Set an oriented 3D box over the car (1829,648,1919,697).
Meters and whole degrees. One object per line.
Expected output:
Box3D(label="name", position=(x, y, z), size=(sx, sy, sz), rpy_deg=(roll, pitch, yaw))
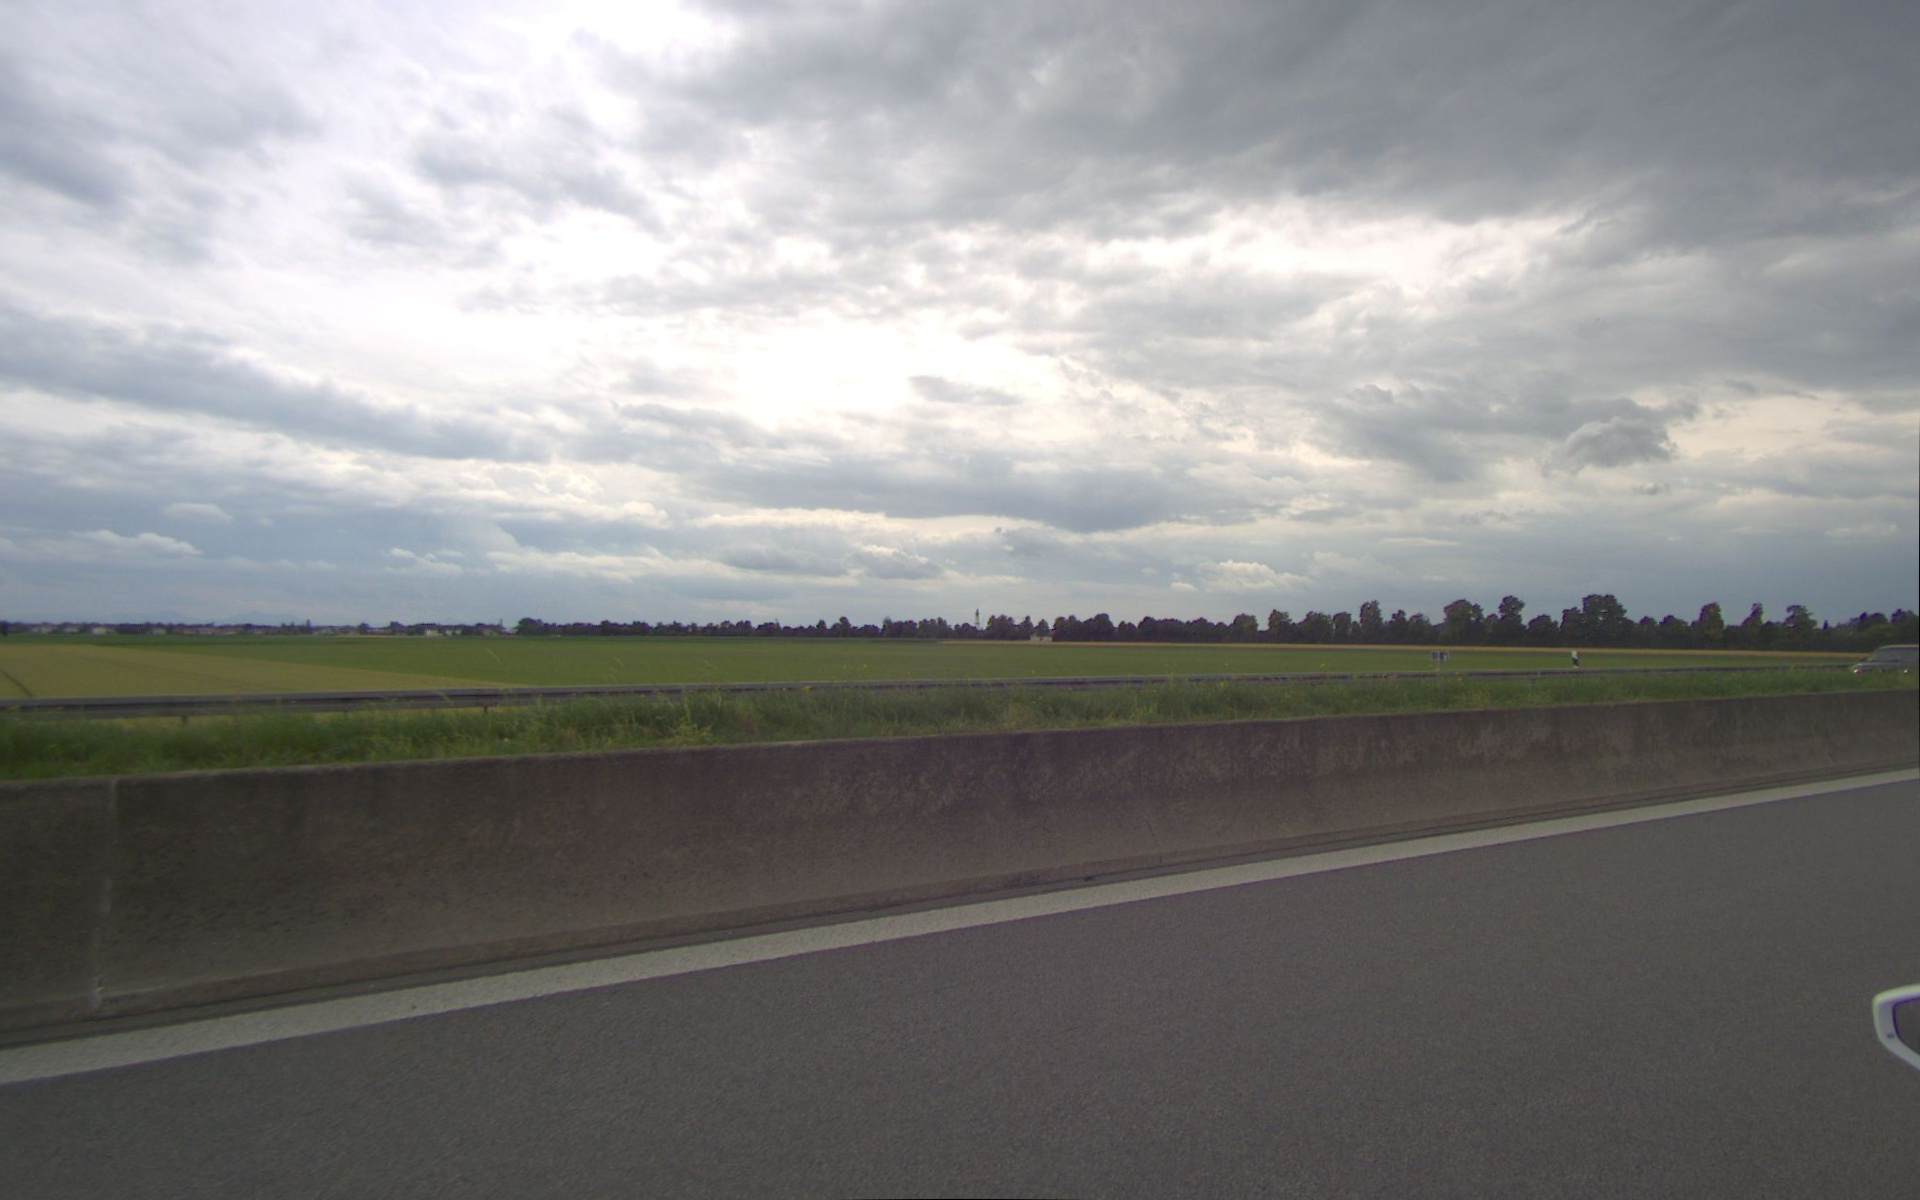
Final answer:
Box3D(label="car", position=(30.012, 2.273, 32.203), size=(4.848, 1.491, 1.781), rpy_deg=(1, -3, -31))
